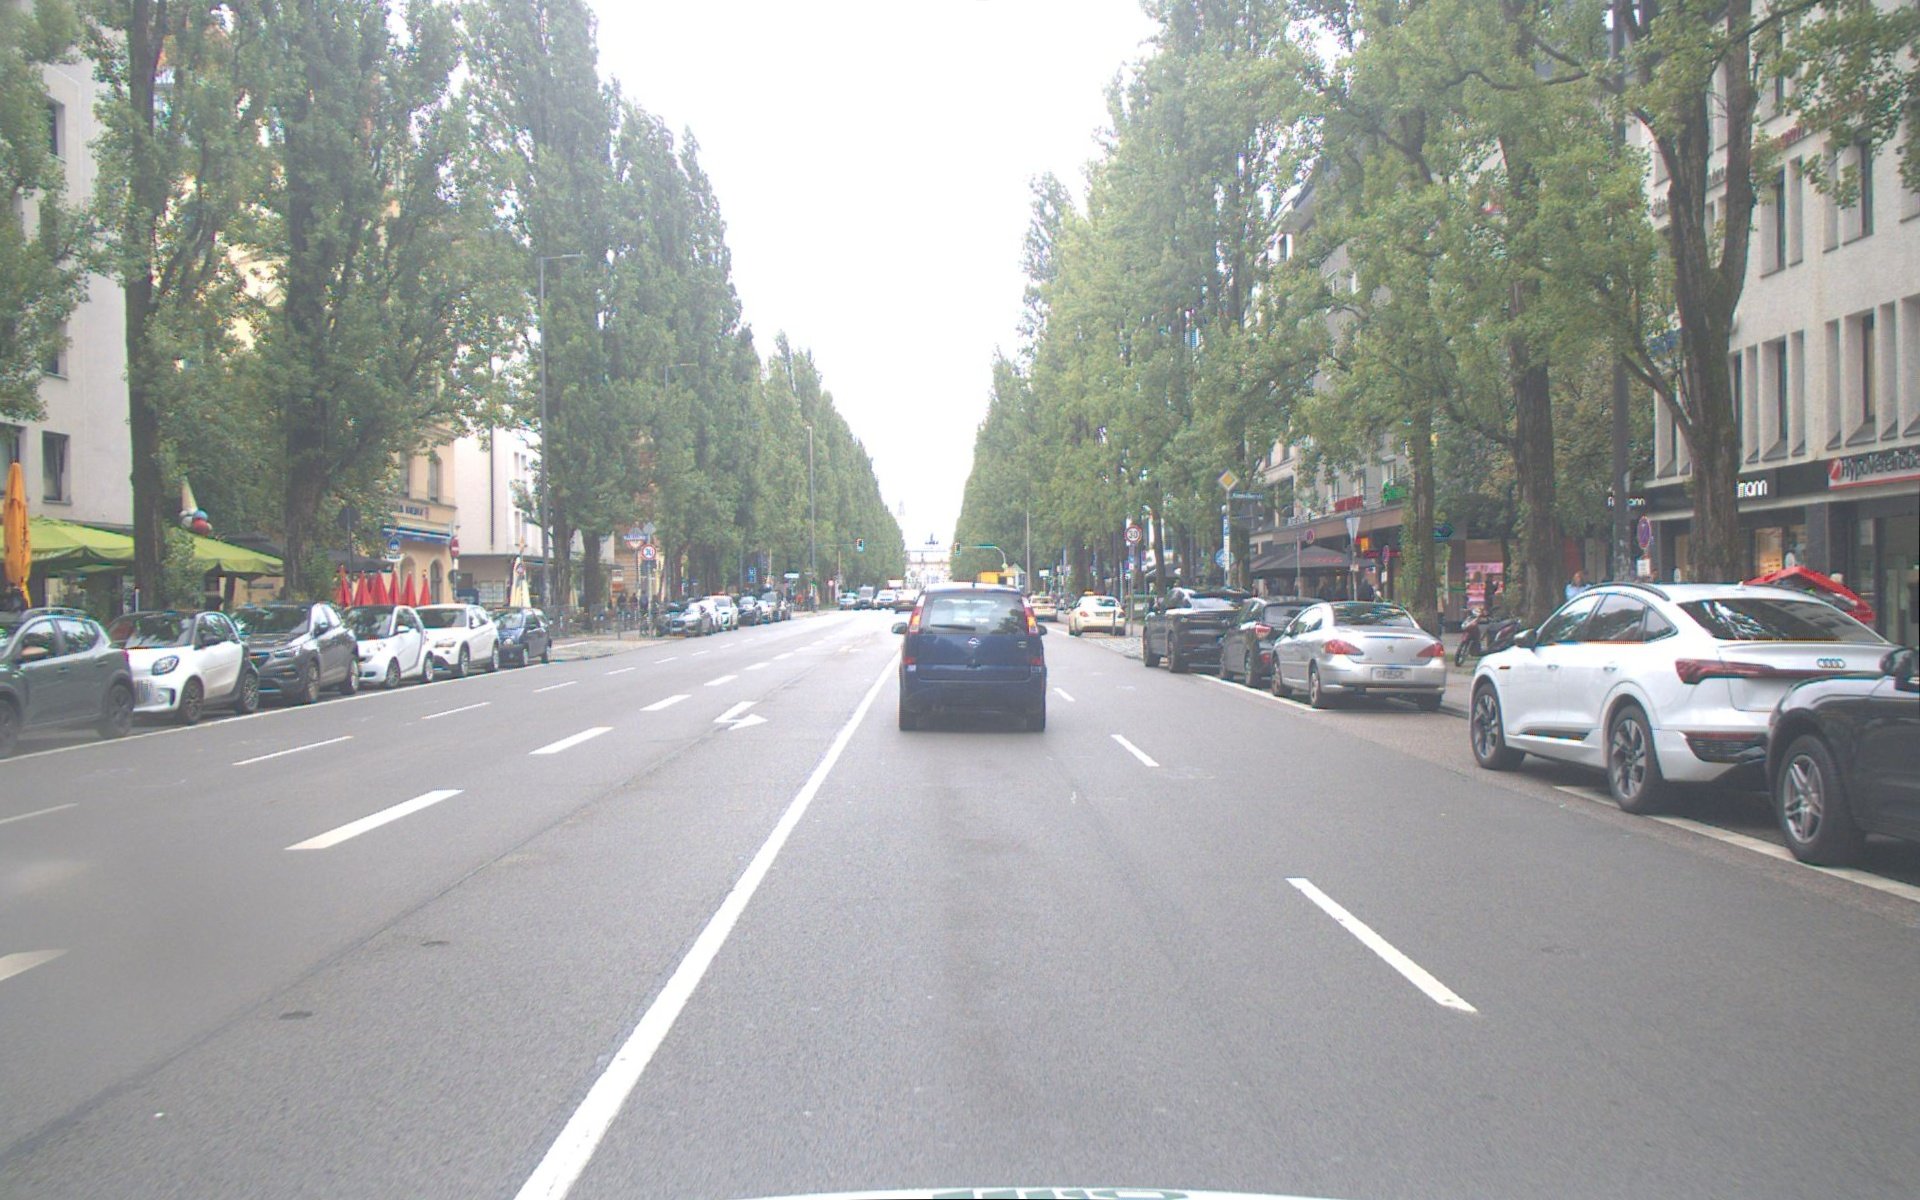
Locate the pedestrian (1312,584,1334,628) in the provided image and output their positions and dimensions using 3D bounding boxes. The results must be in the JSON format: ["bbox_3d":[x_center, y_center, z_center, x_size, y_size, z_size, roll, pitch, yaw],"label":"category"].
[{"bbox_3d":[13.001,0.200,59.233,0.627,1.553,0.484,-1,0,-1],"label":"pedestrian"}]

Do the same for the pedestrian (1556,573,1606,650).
[{"bbox_3d":[13.618,0.246,36.272,0.723,1.655,0.763,1,-1,-14],"label":"pedestrian"}]

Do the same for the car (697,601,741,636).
[{"bbox_3d":[-11.504,0.863,79.078,1.620,1.589,3.456,-1,0,-1],"label":"car"}]

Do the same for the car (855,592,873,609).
[{"bbox_3d":[-10.229,0.055,176.089,1.798,1.769,3.777,-1,0,-2],"label":"car"}]

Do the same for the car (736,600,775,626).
[{"bbox_3d":[-11.978,0.742,97.117,1.922,1.424,3.777,-1,0,-2],"label":"car"}]

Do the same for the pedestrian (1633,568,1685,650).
[{"bbox_3d":[15.358,0.194,36.358,0.713,1.781,0.858,1,0,-7],"label":"pedestrian"}]

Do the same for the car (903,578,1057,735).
[{"bbox_3d":[0.151,0.588,19.629,1.647,1.670,3.999,0,0,-2],"label":"car"}]

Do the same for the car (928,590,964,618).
[{"bbox_3d":[-0.801,0.211,93.547,1.953,1.524,3.999,-1,0,-2],"label":"car"}]

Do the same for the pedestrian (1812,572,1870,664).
[{"bbox_3d":[16.046,0.324,30.147,0.641,1.655,0.704,-1,0,-4],"label":"pedestrian"}]

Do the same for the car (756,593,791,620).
[{"bbox_3d":[-12.163,0.403,107.932,1.953,1.691,3.999,-1,0,-2],"label":"car"}]

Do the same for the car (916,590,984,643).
[{"bbox_3d":[-0.343,0.464,49.937,1.953,1.523,3.999,-1,0,-2],"label":"car"}]

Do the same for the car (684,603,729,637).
[{"bbox_3d":[-11.351,0.880,74.181,1.515,1.478,3.456,-1,0,-1],"label":"car"}]

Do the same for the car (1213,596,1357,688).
[{"bbox_3d":[5.490,0.671,28.288,1.648,1.439,3.582,1,0,-2],"label":"car"}]

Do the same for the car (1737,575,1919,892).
[{"bbox_3d":[5.807,0.655,7.913,1.953,1.592,4.482,-1,0,-2],"label":"car"}]

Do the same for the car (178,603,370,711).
[{"bbox_3d":[-11.182,0.869,27.280,1.805,1.592,4.174,-1,0,-6],"label":"car"}]

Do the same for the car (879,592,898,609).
[{"bbox_3d":[-7.129,0.049,164.359,1.798,1.706,3.777,-1,0,-2],"label":"car"}]

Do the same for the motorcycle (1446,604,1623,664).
[{"bbox_3d":[11.172,0.647,32.233,3.061,1.109,1.191,-1,0,-9],"label":"motorcycle"}]

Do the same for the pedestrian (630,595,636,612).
[{"bbox_3d":[-20.856,0.229,105.558,0.283,1.109,0.258,-1,0,4],"label":"pedestrian"}]

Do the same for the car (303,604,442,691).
[{"bbox_3d":[-11.195,0.871,31.688,1.540,1.561,2.923,-1,0,1],"label":"car"}]

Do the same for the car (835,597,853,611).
[{"bbox_3d":[-13.181,0.430,188.075,1.922,1.576,3.777,-1,0,-2],"label":"car"}]

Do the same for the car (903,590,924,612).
[{"bbox_3d":[-4.006,0.088,143.448,1.798,1.792,3.777,-1,0,-2],"label":"car"}]

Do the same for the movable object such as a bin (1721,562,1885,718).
[{"bbox_3d":[9.837,0.451,19.381,1.012,1.733,1.585,-1,0,-5],"label":"movable object such as a bin"}]

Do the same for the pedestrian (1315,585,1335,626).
[{"bbox_3d":[14.005,0.203,63.440,0.627,1.553,0.484,-1,0,-1],"label":"pedestrian"}]

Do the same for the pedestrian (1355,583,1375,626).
[{"bbox_3d":[15.025,0.161,61.370,0.627,1.553,0.484,-1,0,-1],"label":"pedestrian"}]

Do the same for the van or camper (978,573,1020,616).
[{"bbox_3d":[2.438,-0.359,105.129,2.426,2.626,5.843,-1,0,-1],"label":"van or camper"}]

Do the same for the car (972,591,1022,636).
[{"bbox_3d":[1.356,0.475,61.807,1.672,1.601,3.999,-1,0,-2],"label":"car"}]

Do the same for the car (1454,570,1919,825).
[{"bbox_3d":[5.582,0.629,13.127,1.790,1.649,4.746,0,0,-2],"label":"car"}]

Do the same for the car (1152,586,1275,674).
[{"bbox_3d":[5.026,0.567,33.281,1.761,1.621,4.103,1,0,-1],"label":"car"}]

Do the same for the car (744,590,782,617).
[{"bbox_3d":[-12.086,0.195,101.550,1.922,1.576,3.777,-1,0,-2],"label":"car"}]

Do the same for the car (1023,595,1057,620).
[{"bbox_3d":[4.571,0.401,94.961,1.635,1.376,4.103,-1,0,-1],"label":"car"}]

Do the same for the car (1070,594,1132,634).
[{"bbox_3d":[5.111,0.477,60.413,1.858,1.386,3.899,-1,0,-1],"label":"car"}]

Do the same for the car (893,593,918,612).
[{"bbox_3d":[-4.296,0.212,130.935,1.922,1.424,3.777,-1,0,-2],"label":"car"}]

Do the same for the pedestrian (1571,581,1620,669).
[{"bbox_3d":[11.973,0.461,31.173,0.640,1.629,0.704,1,0,-1],"label":"pedestrian"}]

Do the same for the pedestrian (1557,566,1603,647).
[{"bbox_3d":[14.201,0.148,37.897,0.777,1.843,0.682,-1,0,-3],"label":"pedestrian"}]

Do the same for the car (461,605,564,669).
[{"bbox_3d":[-11.012,0.885,40.915,1.553,1.472,3.391,-1,0,1],"label":"car"}]

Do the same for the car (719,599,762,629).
[{"bbox_3d":[-12.043,0.764,90.877,1.922,1.557,3.998,-1,0,-2],"label":"car"}]

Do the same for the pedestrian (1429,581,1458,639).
[{"bbox_3d":[15.047,0.306,51.466,0.640,1.781,0.859,1,0,-1],"label":"pedestrian"}]

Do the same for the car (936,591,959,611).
[{"bbox_3d":[-1.074,0.083,139.922,1.922,1.706,3.778,-1,0,-2],"label":"car"}]

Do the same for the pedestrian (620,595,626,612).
[{"bbox_3d":[-21.651,0.222,106.306,0.283,1.109,0.258,-1,0,4],"label":"pedestrian"}]

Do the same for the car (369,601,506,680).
[{"bbox_3d":[-11.181,0.827,35.668,1.798,1.573,4.084,-1,0,-3],"label":"car"}]

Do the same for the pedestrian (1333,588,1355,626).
[{"bbox_3d":[14.963,0.273,64.431,0.670,1.494,0.678,-1,0,-1],"label":"pedestrian"}]

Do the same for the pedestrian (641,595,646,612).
[{"bbox_3d":[-20.229,0.237,105.689,0.283,1.109,0.258,-1,0,4],"label":"pedestrian"}]

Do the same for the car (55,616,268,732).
[{"bbox_3d":[-11.093,0.979,23.184,1.598,1.453,2.982,-1,0,-2],"label":"car"}]

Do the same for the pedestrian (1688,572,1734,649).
[{"bbox_3d":[16.401,0.231,36.143,0.641,1.655,0.704,-1,0,-4],"label":"pedestrian"}]

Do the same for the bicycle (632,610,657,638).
[{"bbox_3d":[-11.946,0.894,62.637,0.652,1.023,2.460,-1,0,-4],"label":"bicycle"}]

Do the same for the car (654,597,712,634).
[{"bbox_3d":[-11.396,0.611,68.189,1.793,1.445,3.810,-1,0,-1],"label":"car"}]

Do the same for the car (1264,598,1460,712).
[{"bbox_3d":[5.554,0.705,23.359,1.636,1.431,4.126,1,0,-2],"label":"car"}]

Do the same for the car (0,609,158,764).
[{"bbox_3d":[-10.841,0.921,18.699,1.663,1.577,4.080,-1,0,-2],"label":"car"}]
